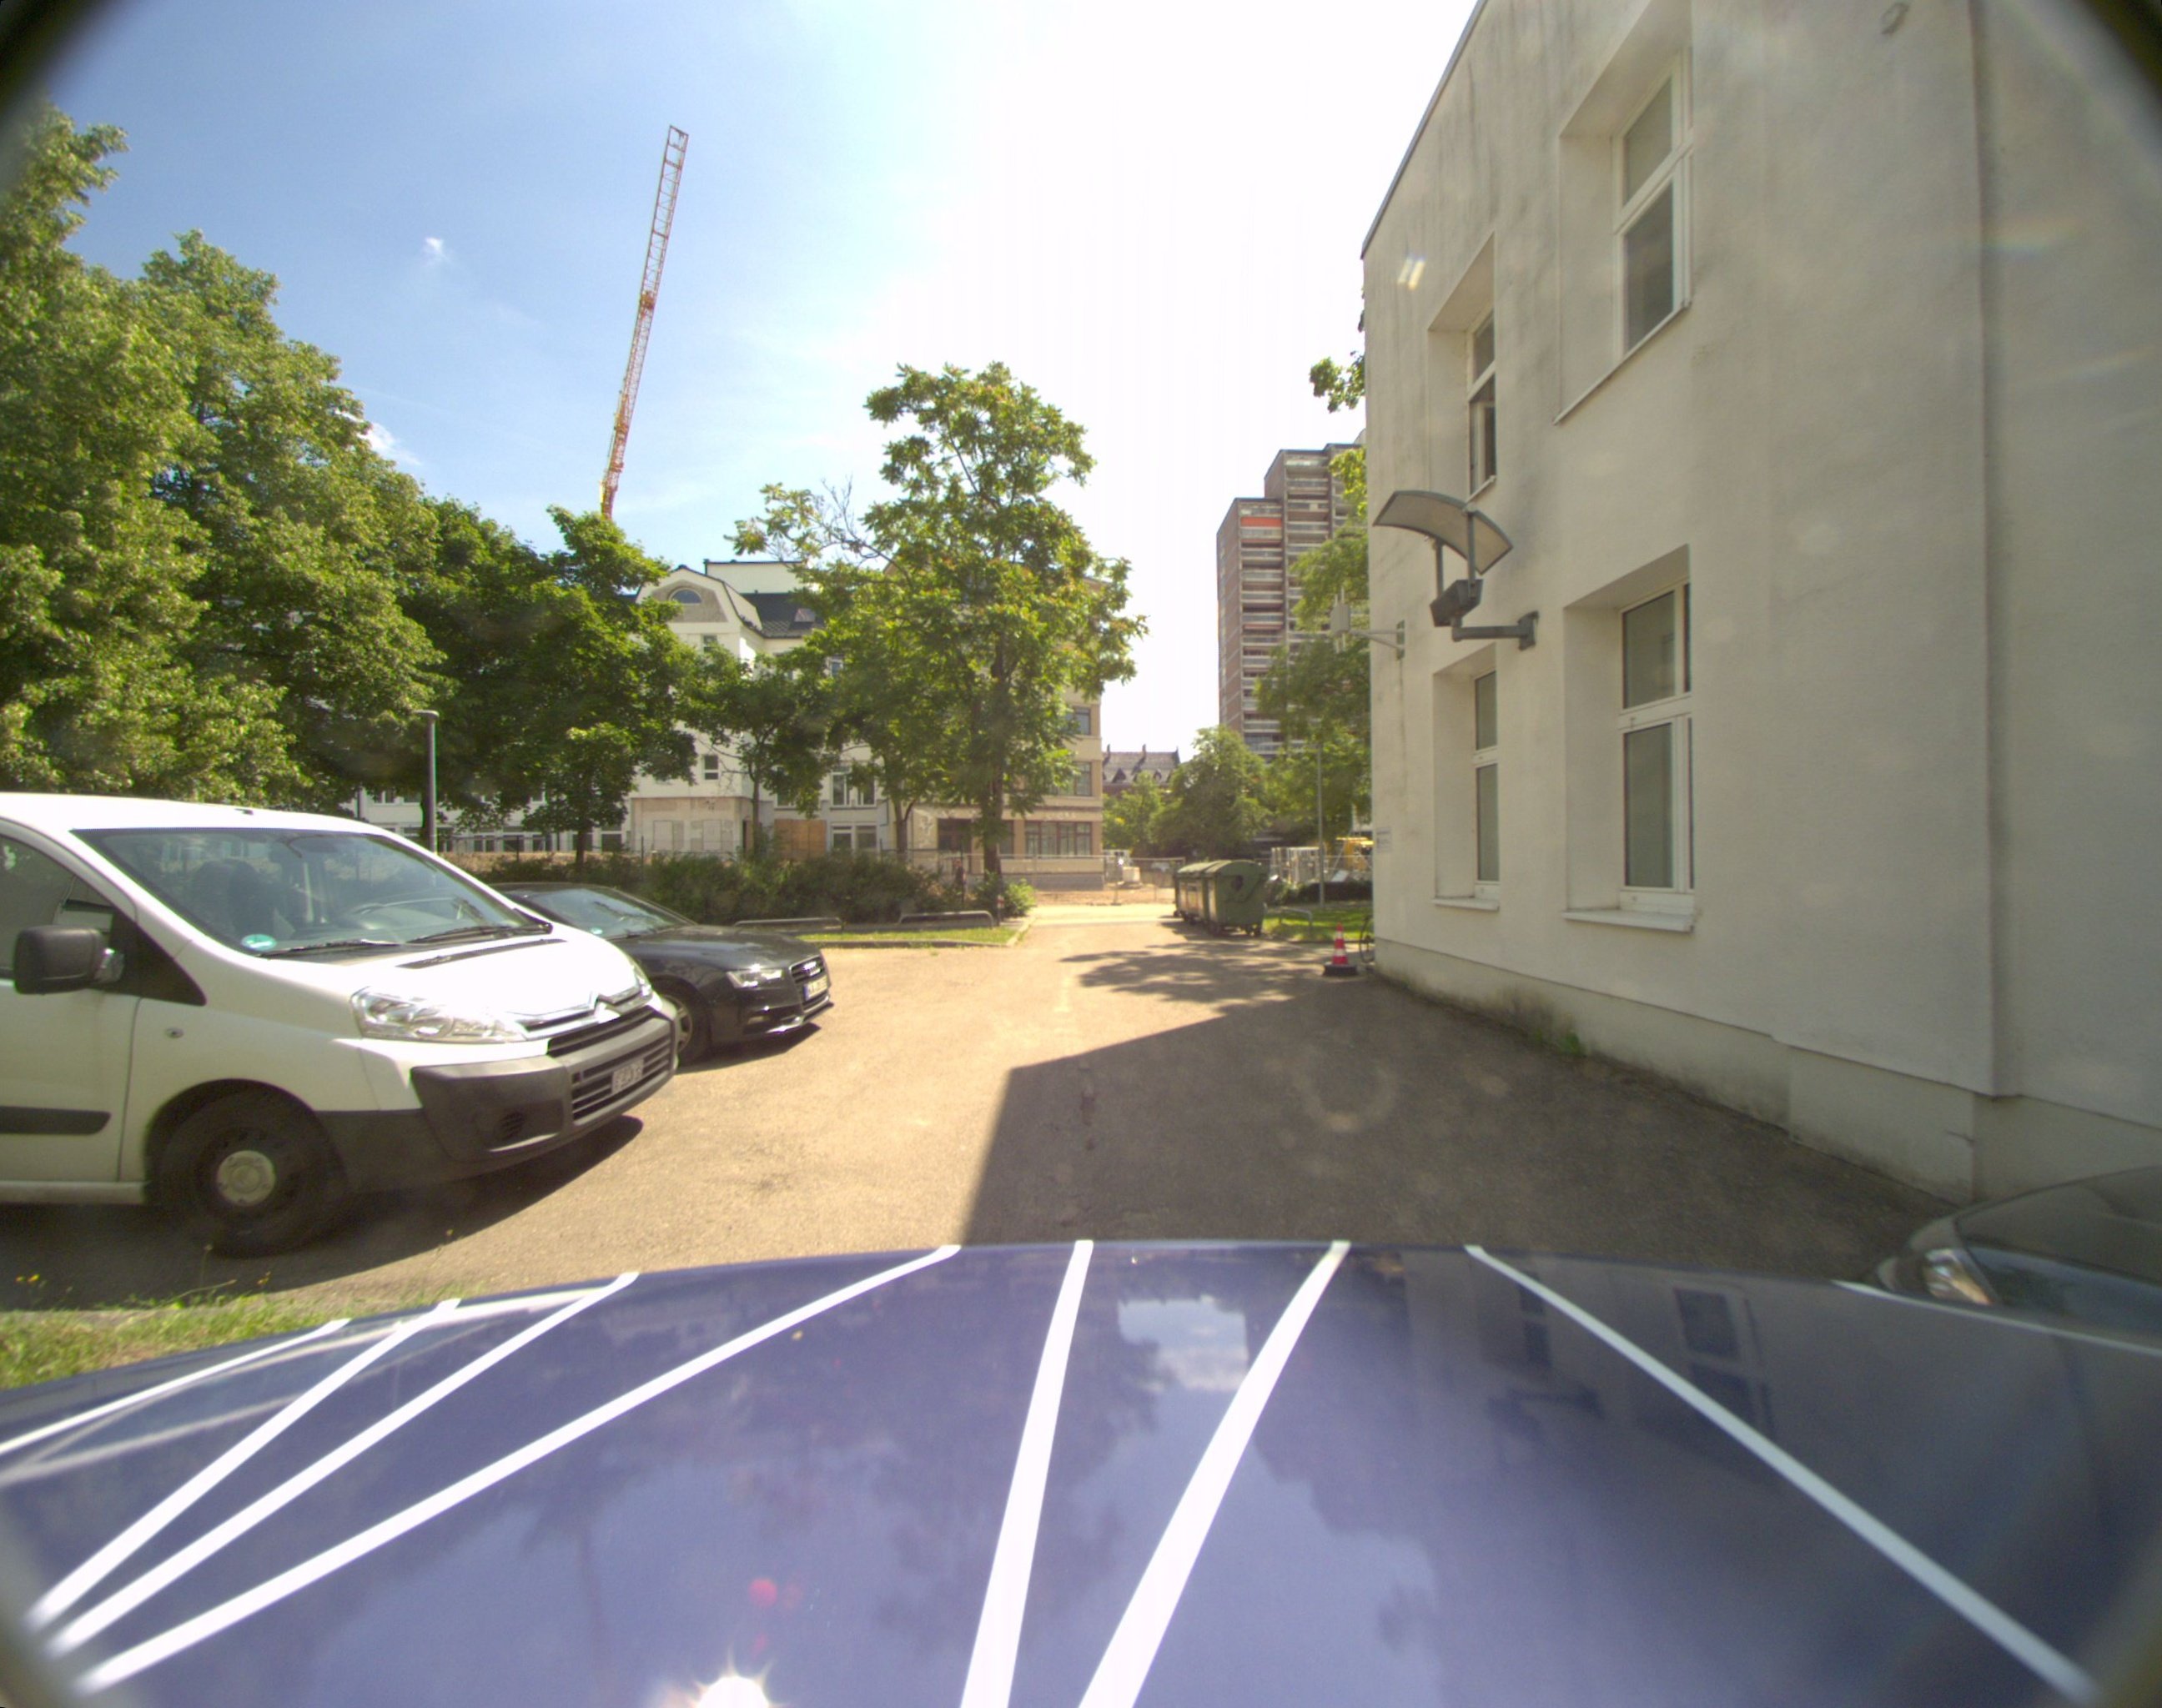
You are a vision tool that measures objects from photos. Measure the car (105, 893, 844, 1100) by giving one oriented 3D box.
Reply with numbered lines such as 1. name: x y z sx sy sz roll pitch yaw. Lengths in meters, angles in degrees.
1. car: -4.564 1.049 6.296 4.623 1.344 1.834 -1 -1 -1

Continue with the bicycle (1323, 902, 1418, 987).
1. bicycle: 3.778 1.147 10.045 0.613 0.952 1.730 -1 -1 1

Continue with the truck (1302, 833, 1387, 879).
1. truck: 24.412 0.230 71.034 2.752 3.982 9.735 -1 0 -12

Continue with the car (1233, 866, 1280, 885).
1. car: 13.424 1.625 58.197 1.625 1.431 3.576 0 -1 -25

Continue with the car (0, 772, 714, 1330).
1. car: -4.697 0.733 3.741 4.771 2.002 2.000 -1 0 0

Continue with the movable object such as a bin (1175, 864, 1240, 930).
1. movable object such as a bin: 2.923 0.975 17.690 1.097 1.470 1.359 0 0 -11

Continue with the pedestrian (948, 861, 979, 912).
1. pedestrian: -4.302 1.164 27.778 0.968 1.808 0.869 0 0 -21

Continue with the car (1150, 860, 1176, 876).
1. car: 10.544 1.740 97.722 1.995 2.001 4.008 -1 -1 27

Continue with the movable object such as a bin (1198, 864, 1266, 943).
1. movable object such as a bin: 2.914 0.925 14.808 1.047 1.470 1.410 0 0 0

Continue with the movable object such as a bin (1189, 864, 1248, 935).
1. movable object such as a bin: 2.927 0.951 16.301 1.047 1.470 1.262 0 0 0

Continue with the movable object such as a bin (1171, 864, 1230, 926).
1. movable object such as a bin: 2.975 0.999 19.045 1.207 1.470 1.325 0 0 -4

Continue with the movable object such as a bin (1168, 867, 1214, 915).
1. movable object such as a bin: 3.281 1.083 22.634 1.113 1.386 1.162 0 0 22
